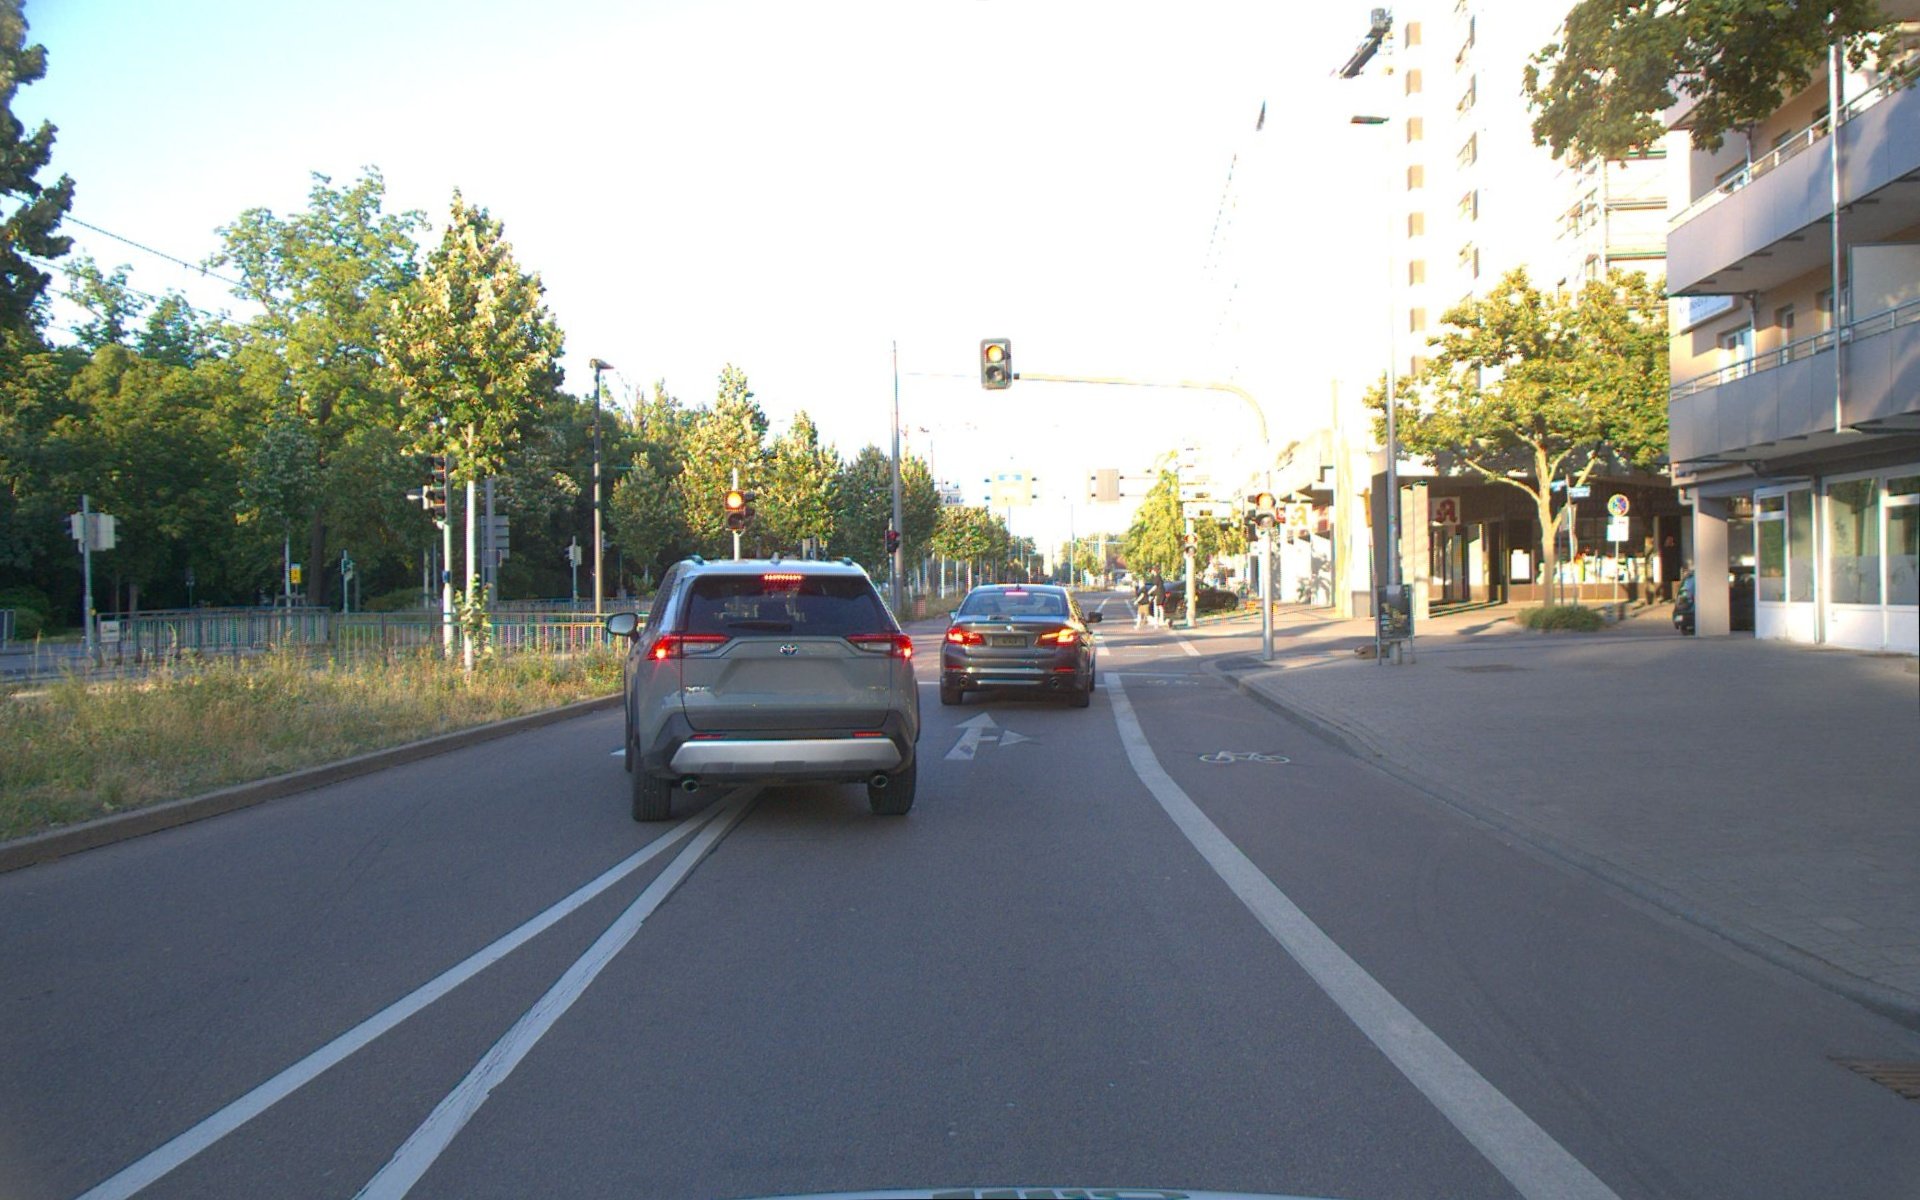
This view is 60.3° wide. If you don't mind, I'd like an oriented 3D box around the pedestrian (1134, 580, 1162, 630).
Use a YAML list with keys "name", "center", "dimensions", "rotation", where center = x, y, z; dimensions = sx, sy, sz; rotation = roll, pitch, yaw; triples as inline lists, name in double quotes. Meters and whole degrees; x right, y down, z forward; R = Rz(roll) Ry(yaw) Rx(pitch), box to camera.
- name: "pedestrian"
  center: [6.185, 0.161, 54.366]
  dimensions: [0.817, 1.614, 0.813]
  rotation: [-1, 0, 12]

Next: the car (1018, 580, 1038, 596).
- name: "car"
  center: [6.664, -1.220, 161.820]
  dimensions: [1.937, 1.458, 4.846]
  rotation: [0, 2, 3]

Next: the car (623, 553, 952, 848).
- name: "car"
  center: [-1.422, 0.521, 11.840]
  dimensions: [1.823, 1.687, 4.254]
  rotation: [0, 2, -13]

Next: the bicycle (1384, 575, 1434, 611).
- name: "bicycle"
  center: [15.094, -0.237, 55.592]
  dimensions: [0.677, 1.169, 2.015]
  rotation: [2, 0, -15]

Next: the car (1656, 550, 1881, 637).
- name: "car"
  center: [17.399, -0.113, 35.753]
  dimensions: [3.955, 1.613, 1.707]
  rotation: [-3, -3, 8]

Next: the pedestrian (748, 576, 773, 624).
- name: "pedestrian"
  center: [-7.422, -0.008, 61.576]
  dimensions: [0.817, 1.742, 0.648]
  rotation: [-1, 0, 2]

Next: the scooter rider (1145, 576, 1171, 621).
- name: "scooter rider"
  center: [6.823, -0.057, 56.954]
  dimensions: [0.803, 1.540, 0.653]
  rotation: [-1, 0, 13]

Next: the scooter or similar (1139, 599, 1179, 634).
- name: "scooter or similar"
  center: [6.838, 0.559, 56.925]
  dimensions: [1.301, 1.173, 0.514]
  rotation: [-1, 0, 13]

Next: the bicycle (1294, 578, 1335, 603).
- name: "bicycle"
  center: [17.811, -0.478, 83.127]
  dimensions: [1.973, 1.169, 0.691]
  rotation: [2, 0, 10]

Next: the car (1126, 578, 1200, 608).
- name: "car"
  center: [12.238, -0.427, 99.630]
  dimensions: [4.212, 1.687, 1.841]
  rotation: [-1, 2, -32]

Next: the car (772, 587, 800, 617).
- name: "car"
  center: [-13.361, 0.127, 127.096]
  dimensions: [1.954, 2.205, 4.748]
  rotation: [0, 2, -3]

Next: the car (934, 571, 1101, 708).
- name: "car"
  center: [0.852, 0.414, 21.407]
  dimensions: [1.891, 1.507, 4.526]
  rotation: [0, 2, 5]

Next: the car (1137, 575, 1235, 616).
- name: "car"
  center: [9.760, -0.225, 71.375]
  dimensions: [4.227, 1.687, 1.835]
  rotation: [-1, 2, -39]
